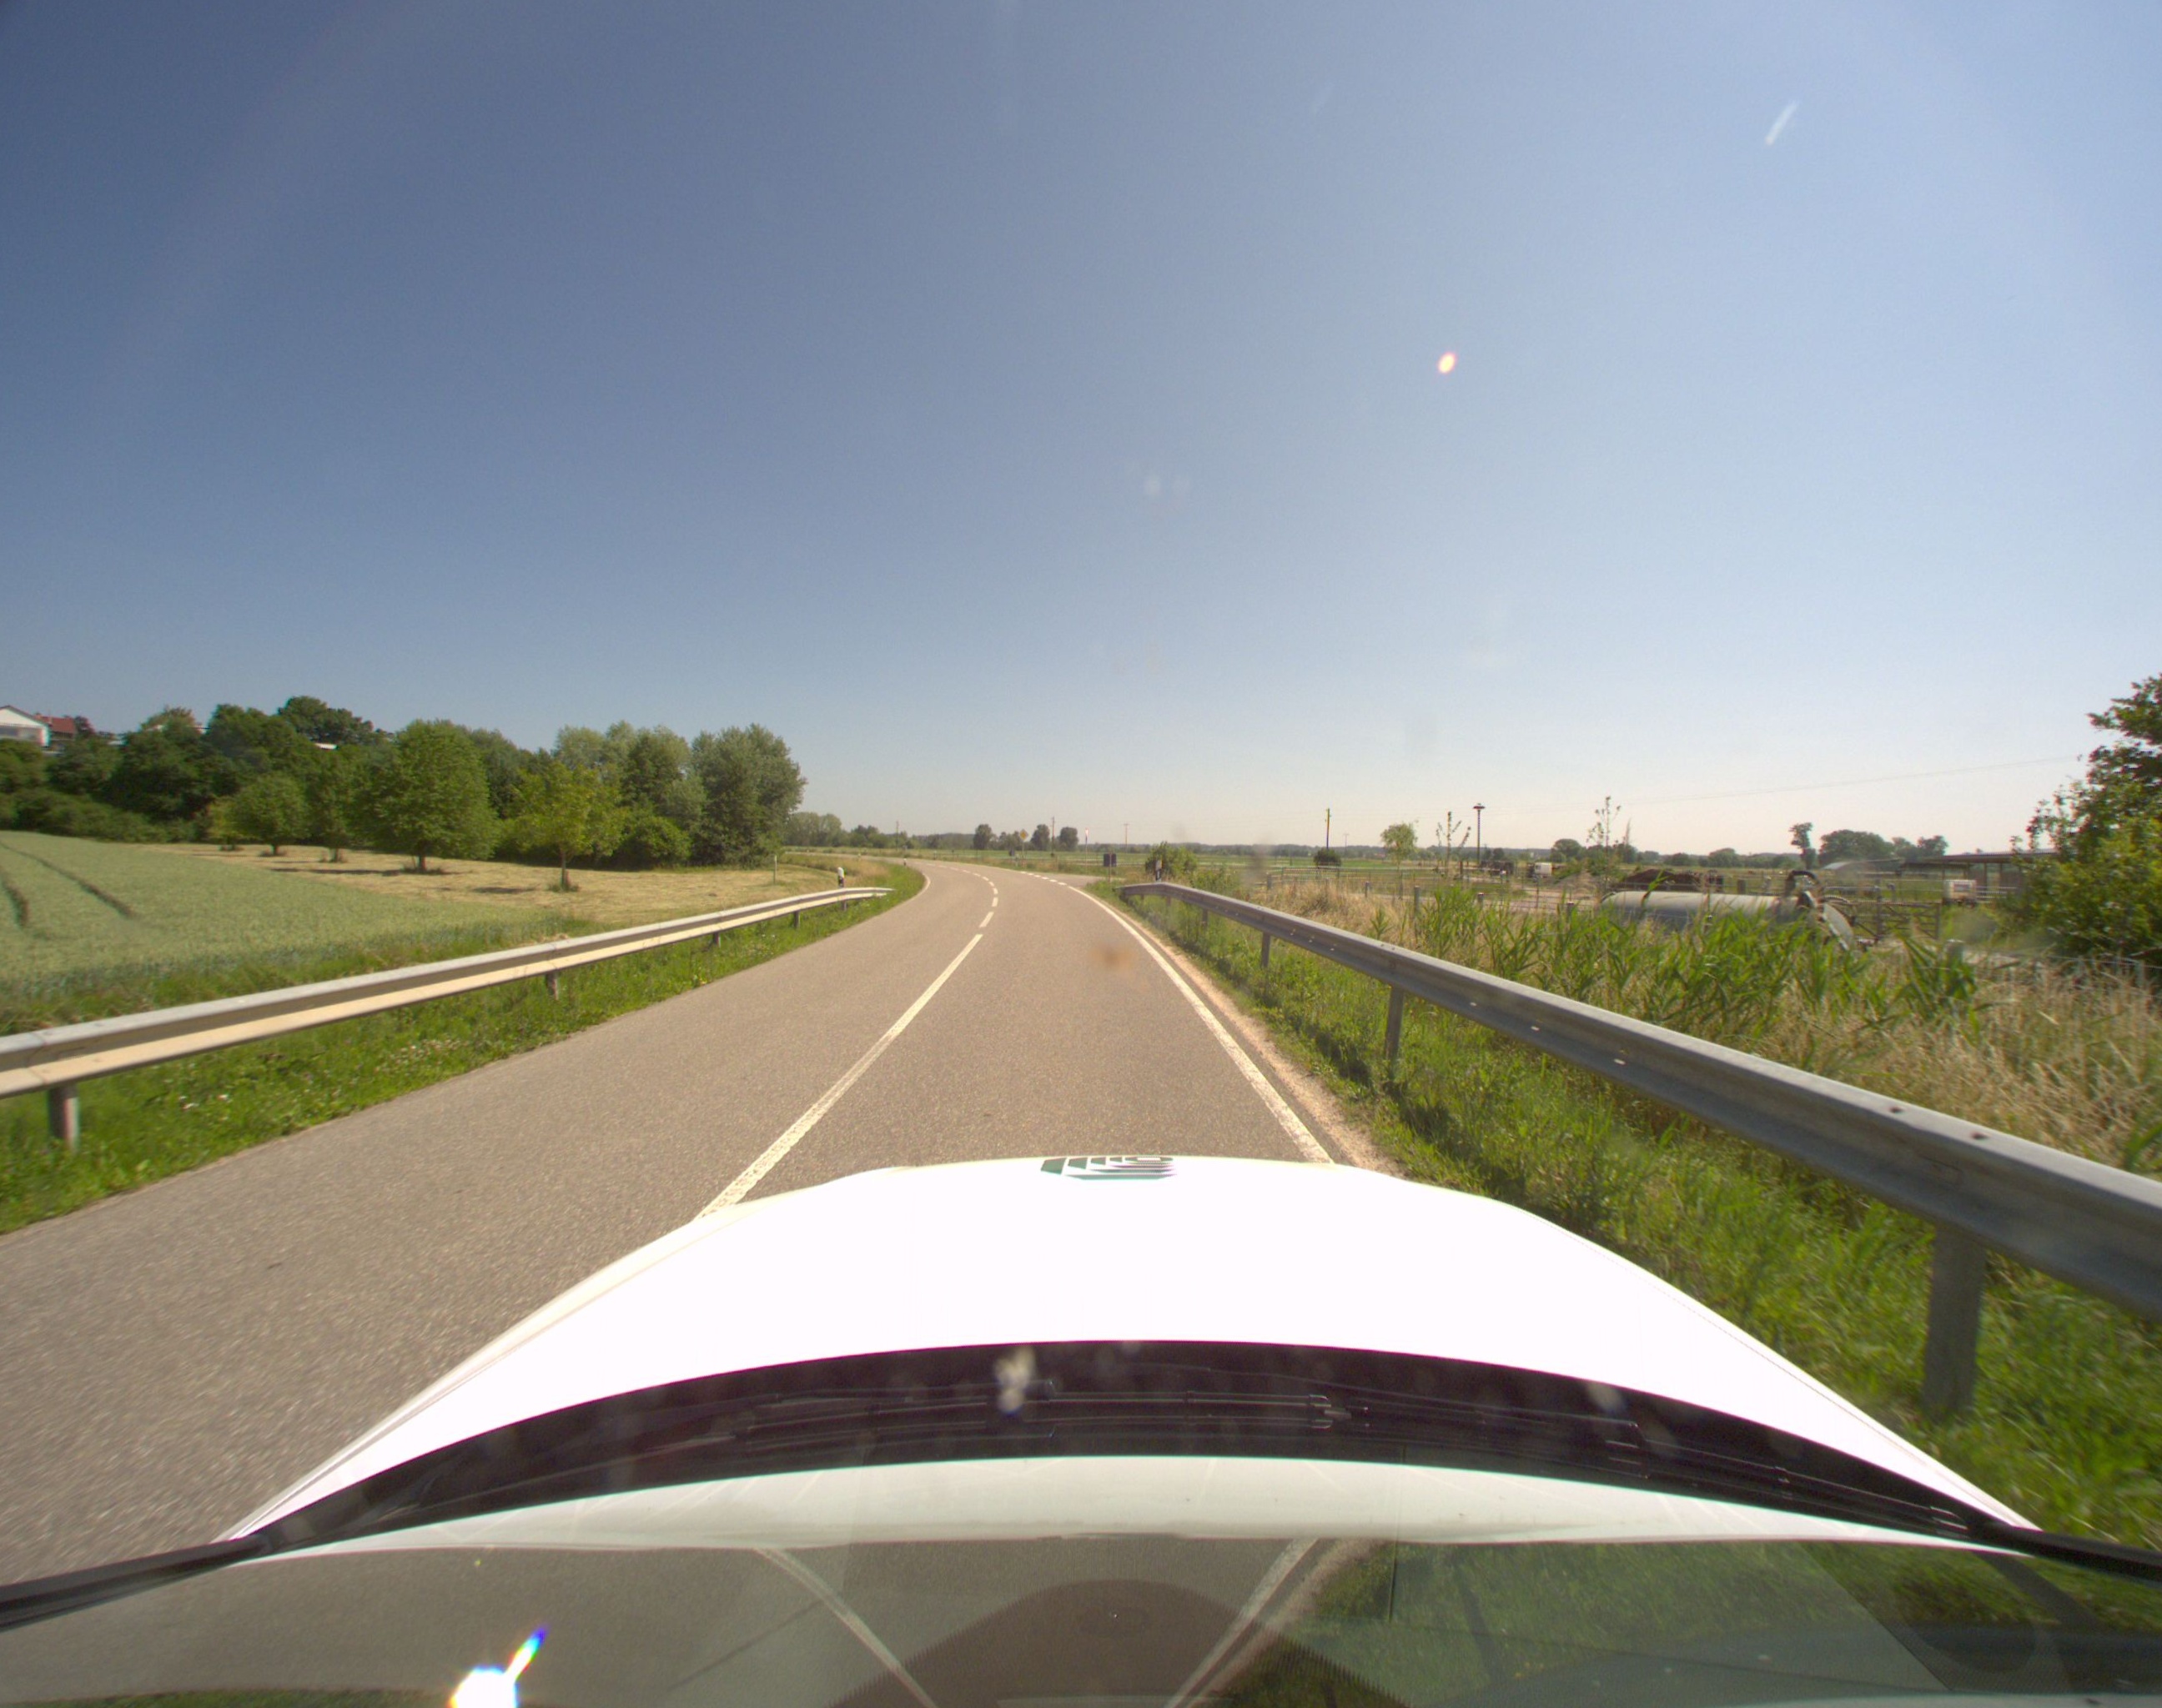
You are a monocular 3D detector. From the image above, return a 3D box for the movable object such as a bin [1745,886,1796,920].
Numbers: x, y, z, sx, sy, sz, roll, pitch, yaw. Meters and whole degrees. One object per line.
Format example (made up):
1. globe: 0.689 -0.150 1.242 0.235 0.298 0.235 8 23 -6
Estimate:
1. movable object such as a bin: 30.115 2.127 35.593 1.356 1.349 1.526 1 0 27
